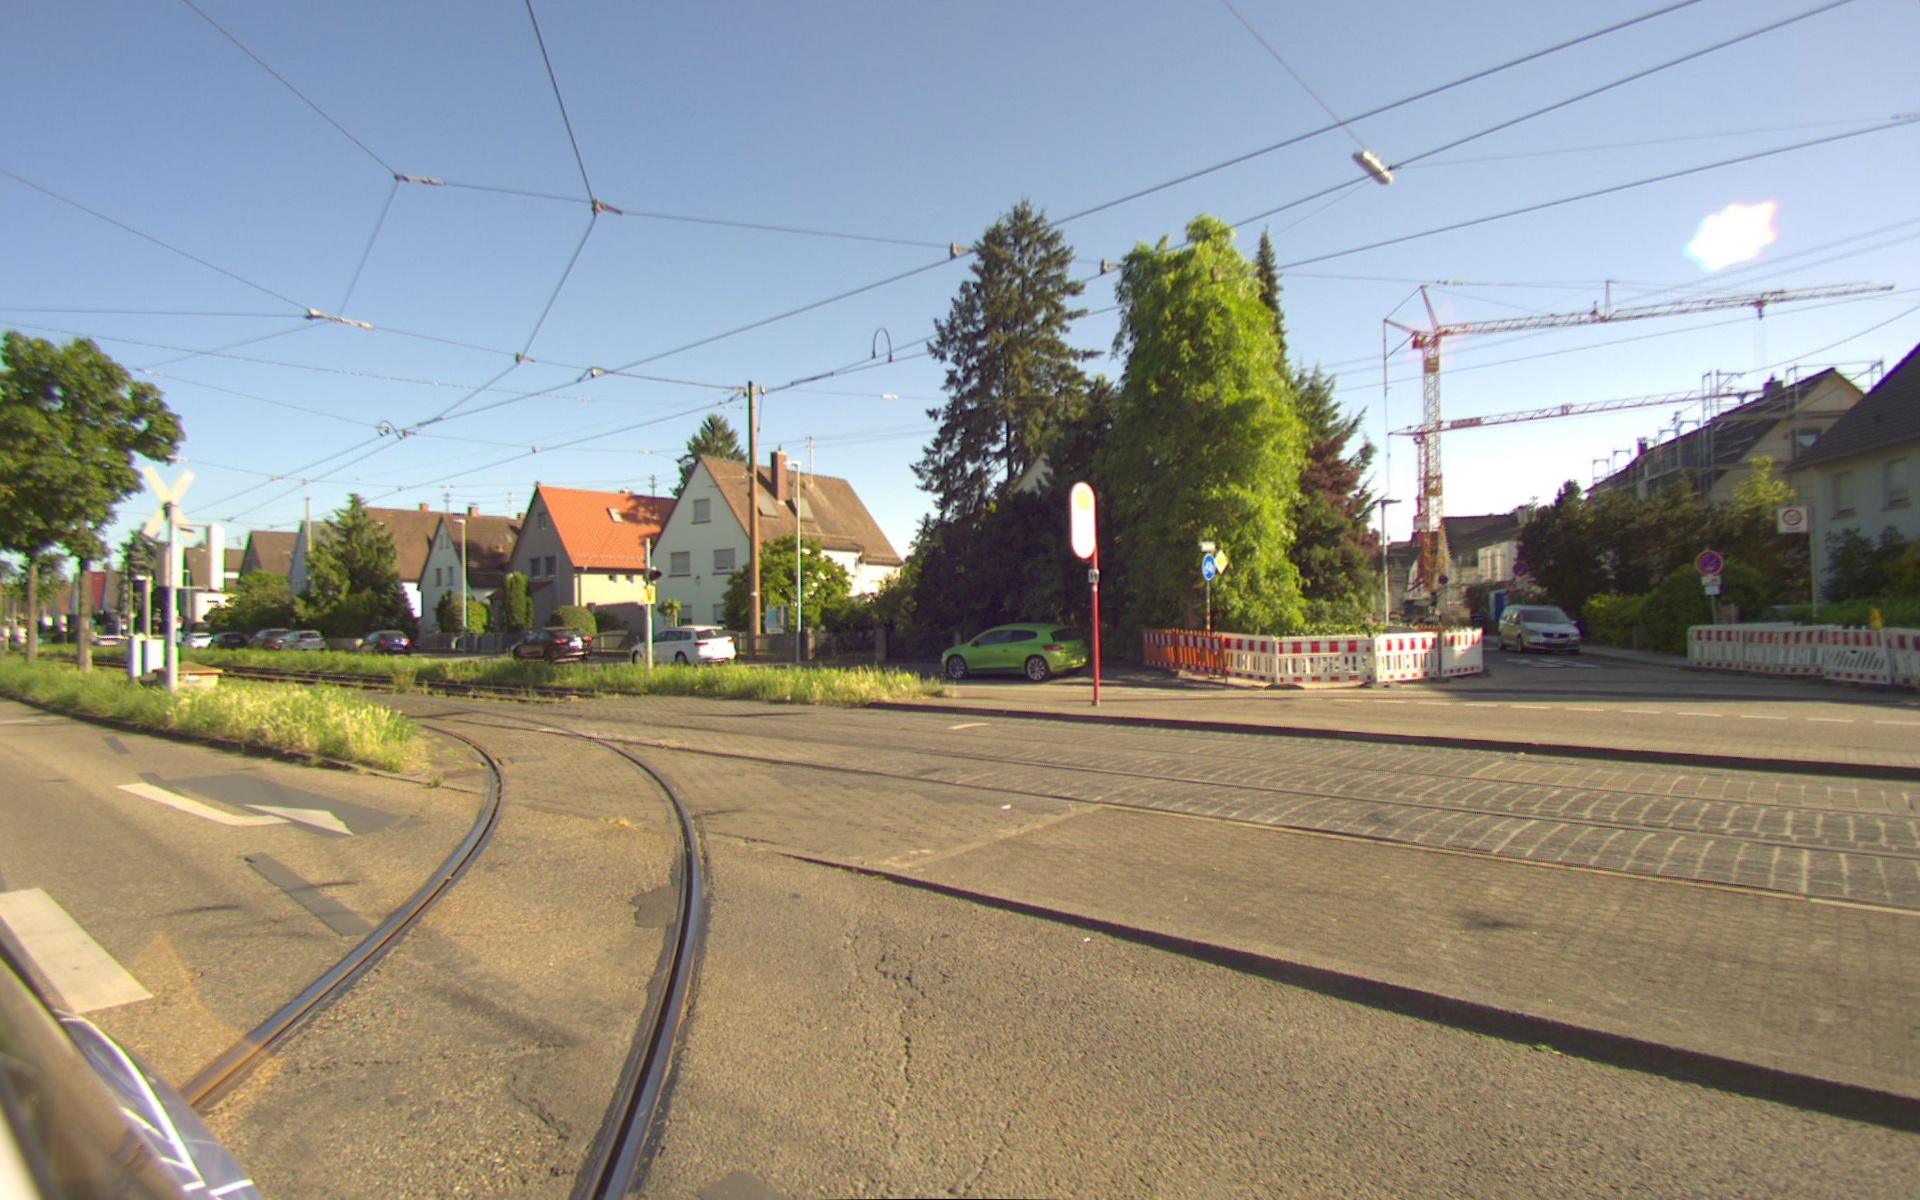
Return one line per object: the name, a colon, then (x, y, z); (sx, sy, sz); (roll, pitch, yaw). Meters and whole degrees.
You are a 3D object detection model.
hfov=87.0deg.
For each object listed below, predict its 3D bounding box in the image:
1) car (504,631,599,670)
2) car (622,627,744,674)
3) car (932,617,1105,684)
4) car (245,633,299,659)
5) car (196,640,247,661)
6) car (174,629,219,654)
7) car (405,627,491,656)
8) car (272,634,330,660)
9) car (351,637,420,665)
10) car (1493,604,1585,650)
car: (-17.141, 2.078, 42.363); (4.439, 1.477, 1.887); (-2, 0, 41)
car: (-9.882, 1.750, 35.962); (4.610, 1.483, 1.865); (-2, 0, 40)
car: (1.485, 1.268, 26.262); (4.063, 1.512, 1.975); (-2, 0, 38)
car: (-45.769, 3.064, 67.260); (4.534, 1.572, 1.864); (-2, 0, 41)
car: (-54.634, 3.708, 74.867); (4.980, 1.351, 1.973); (-2, 0, 41)
car: (-61.097, 3.349, 80.945); (4.582, 1.877, 1.973); (-2, -1, 42)
car: (-31.738, 2.556, 62.815); (1.746, 1.481, 4.433); (-2, 1, 39)
car: (-41.791, 2.983, 64.141); (4.837, 1.483, 1.864); (-2, 0, 42)
car: (-31.065, 2.729, 54.674); (4.308, 1.382, 1.972); (-2, -1, 42)
car: (19.882, 0.895, 34.944); (1.733, 1.418, 4.467); (-2, -1, 16)
